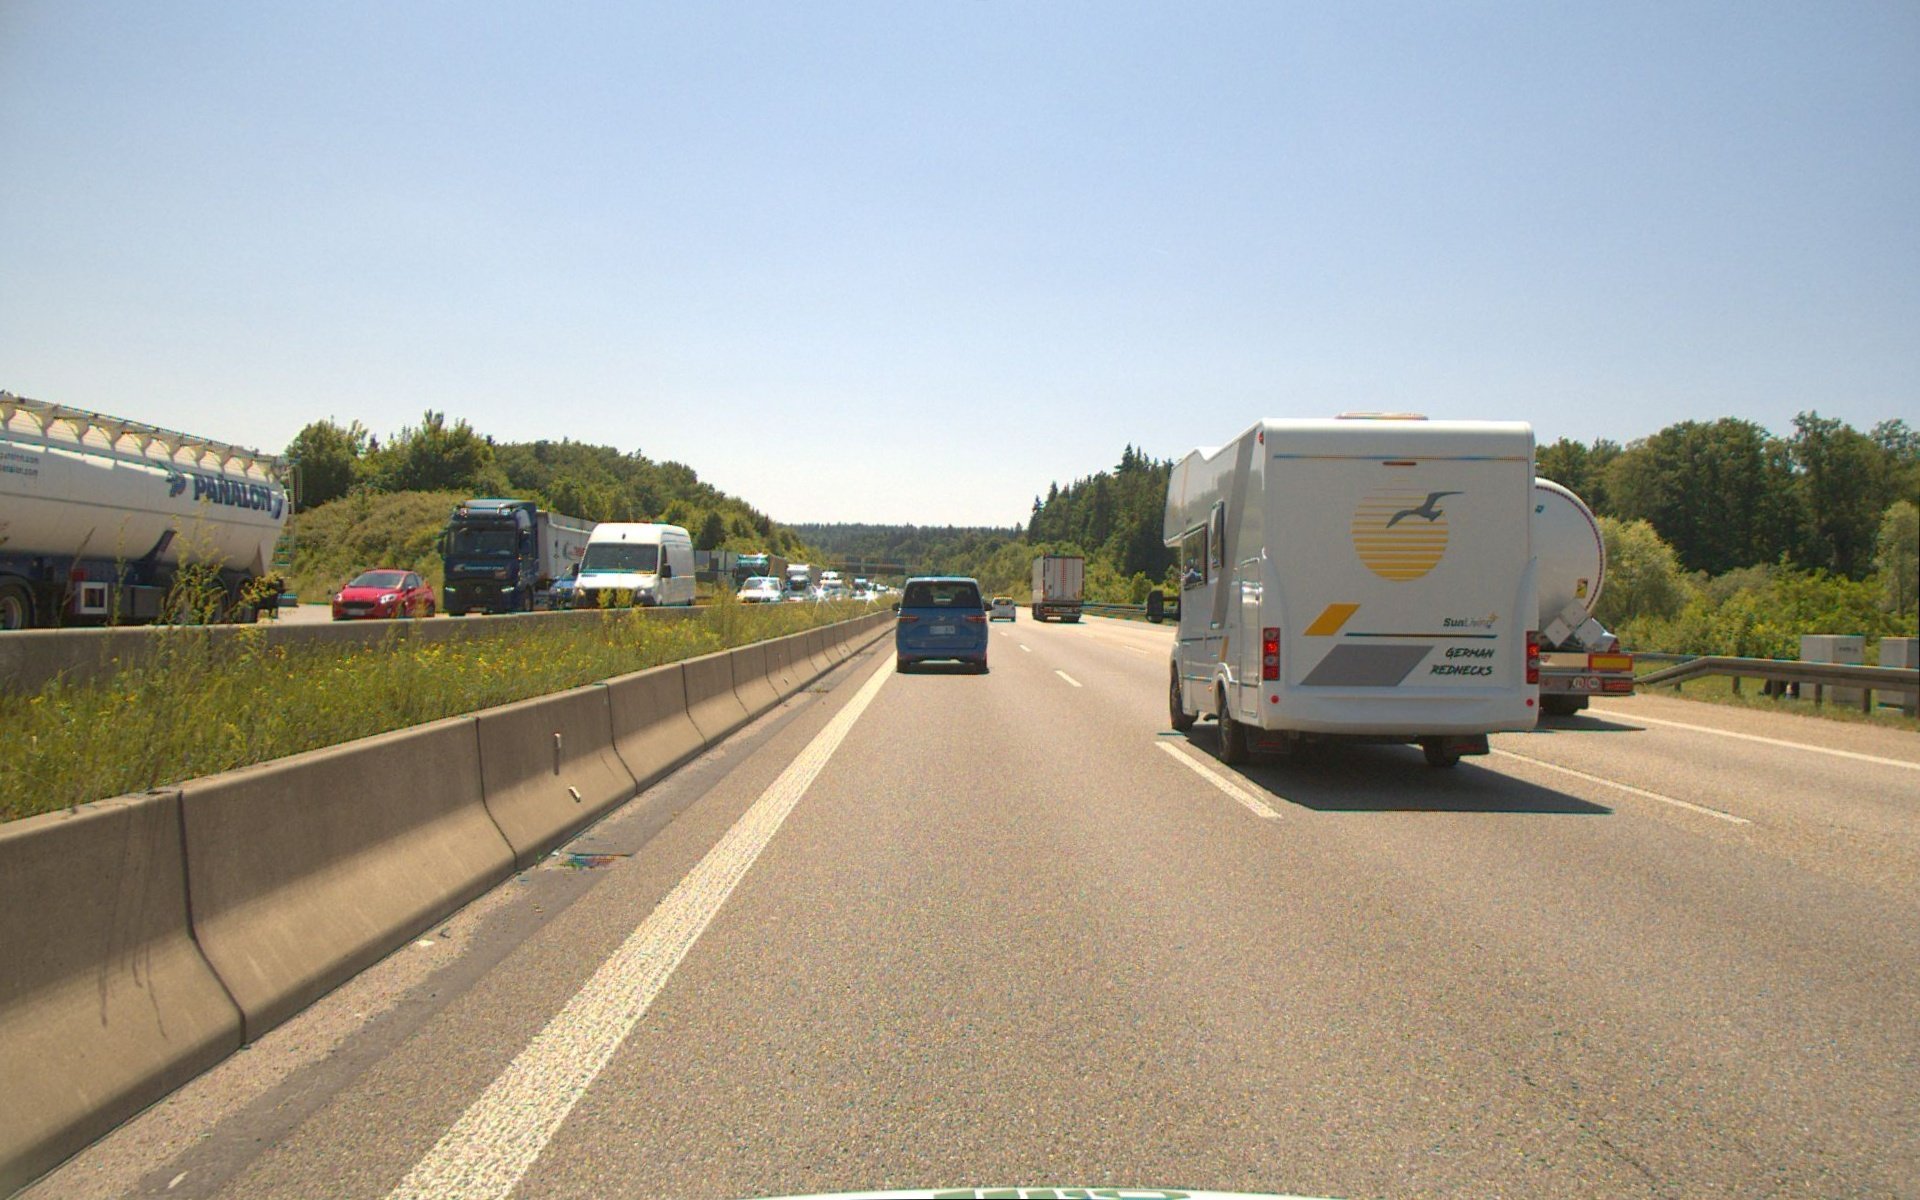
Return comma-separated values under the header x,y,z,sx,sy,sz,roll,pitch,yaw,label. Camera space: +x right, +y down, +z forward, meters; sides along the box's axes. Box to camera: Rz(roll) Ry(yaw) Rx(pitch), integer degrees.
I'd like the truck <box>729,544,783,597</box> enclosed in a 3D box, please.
x,y,z,sx,sy,sz,roll,pitch,yaw,label
-16.487,-2.314,134.404,2.932,3.869,12.160,4,0,-1,truck

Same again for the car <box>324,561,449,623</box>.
x,y,z,sx,sy,sz,roll,pitch,yaw,label
-15.174,-0.200,43.989,1.759,1.565,4.584,0,0,-1,car

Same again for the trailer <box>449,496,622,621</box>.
x,y,z,sx,sy,sz,roll,pitch,yaw,label
-15.570,-1.464,61.810,3.505,4.165,11.537,1,1,-1,trailer

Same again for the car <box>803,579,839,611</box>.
x,y,z,sx,sy,sz,roll,pitch,yaw,label
-8.327,-0.307,99.475,1.752,1.783,4.000,4,0,0,car

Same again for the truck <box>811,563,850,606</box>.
x,y,z,sx,sy,sz,roll,pitch,yaw,label
-12.851,-1.494,164.888,2.932,3.869,12.160,4,0,-1,truck

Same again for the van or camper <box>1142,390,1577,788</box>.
x,y,z,sx,sy,sz,roll,pitch,yaw,label
3.549,-0.089,16.640,2.550,3.132,7.180,0,0,-1,van or camper

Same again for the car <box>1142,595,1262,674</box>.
x,y,z,sx,sy,sz,roll,pitch,yaw,label
4.987,0.673,34.613,1.870,1.500,3.999,2,0,-1,car

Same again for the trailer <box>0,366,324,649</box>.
x,y,z,sx,sy,sz,roll,pitch,yaw,label
-15.152,-1.410,29.413,2.626,4.018,13.241,4,0,-1,trailer

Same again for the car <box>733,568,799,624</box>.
x,y,z,sx,sy,sz,roll,pitch,yaw,label
-7.766,-0.147,66.619,1.953,2.048,5.163,4,0,0,car

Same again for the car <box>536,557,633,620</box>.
x,y,z,sx,sy,sz,roll,pitch,yaw,label
-11.641,-0.341,51.626,1.759,1.866,5.745,0,0,-1,car

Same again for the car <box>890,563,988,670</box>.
x,y,z,sx,sy,sz,roll,pitch,yaw,label
-0.434,0.327,34.586,1.870,2.049,3.999,2,0,-1,car

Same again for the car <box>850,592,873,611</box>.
x,y,z,sx,sy,sz,roll,pitch,yaw,label
-8.712,0.136,146.327,1.752,1.573,4.000,4,0,0,car

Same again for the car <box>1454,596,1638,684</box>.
x,y,z,sx,sy,sz,roll,pitch,yaw,label
10.777,0.686,30.787,1.679,1.465,4.767,2,0,0,car

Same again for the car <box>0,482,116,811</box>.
x,y,z,sx,sy,sz,roll,pitch,yaw,label
-7.119,0.234,9.285,2.043,2.099,5.058,4,0,0,car

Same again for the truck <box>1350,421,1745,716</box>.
x,y,z,sx,sy,sz,roll,pitch,yaw,label
8.326,-0.368,24.855,2.868,3.638,8.525,1,0,0,truck

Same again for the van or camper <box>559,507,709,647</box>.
x,y,z,sx,sy,sz,roll,pitch,yaw,label
-7.750,-0.511,40.161,1.953,2.927,7.641,4,0,0,van or camper

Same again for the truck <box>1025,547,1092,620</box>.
x,y,z,sx,sy,sz,roll,pitch,yaw,label
6.176,-0.998,105.351,3.417,4.242,8.640,4,0,-1,truck

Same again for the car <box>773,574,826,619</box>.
x,y,z,sx,sy,sz,roll,pitch,yaw,label
-7.861,-0.163,81.479,1.953,2.048,5.163,4,0,0,car

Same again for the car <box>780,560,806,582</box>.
x,y,z,sx,sy,sz,roll,pitch,yaw,label
-17.086,-2.949,169.630,2.043,2.099,5.058,4,0,0,car

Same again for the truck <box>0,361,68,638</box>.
x,y,z,sx,sy,sz,roll,pitch,yaw,label
-15.021,-1.449,22.217,2.638,3.946,6.316,1,0,-1,truck

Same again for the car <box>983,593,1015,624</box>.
x,y,z,sx,sy,sz,roll,pitch,yaw,label
2.435,0.515,103.668,1.781,1.825,3.894,4,0,-1,car

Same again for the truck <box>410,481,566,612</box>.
x,y,z,sx,sy,sz,roll,pitch,yaw,label
-15.484,-1.670,54.697,3.384,3.944,5.445,3,0,0,truck
